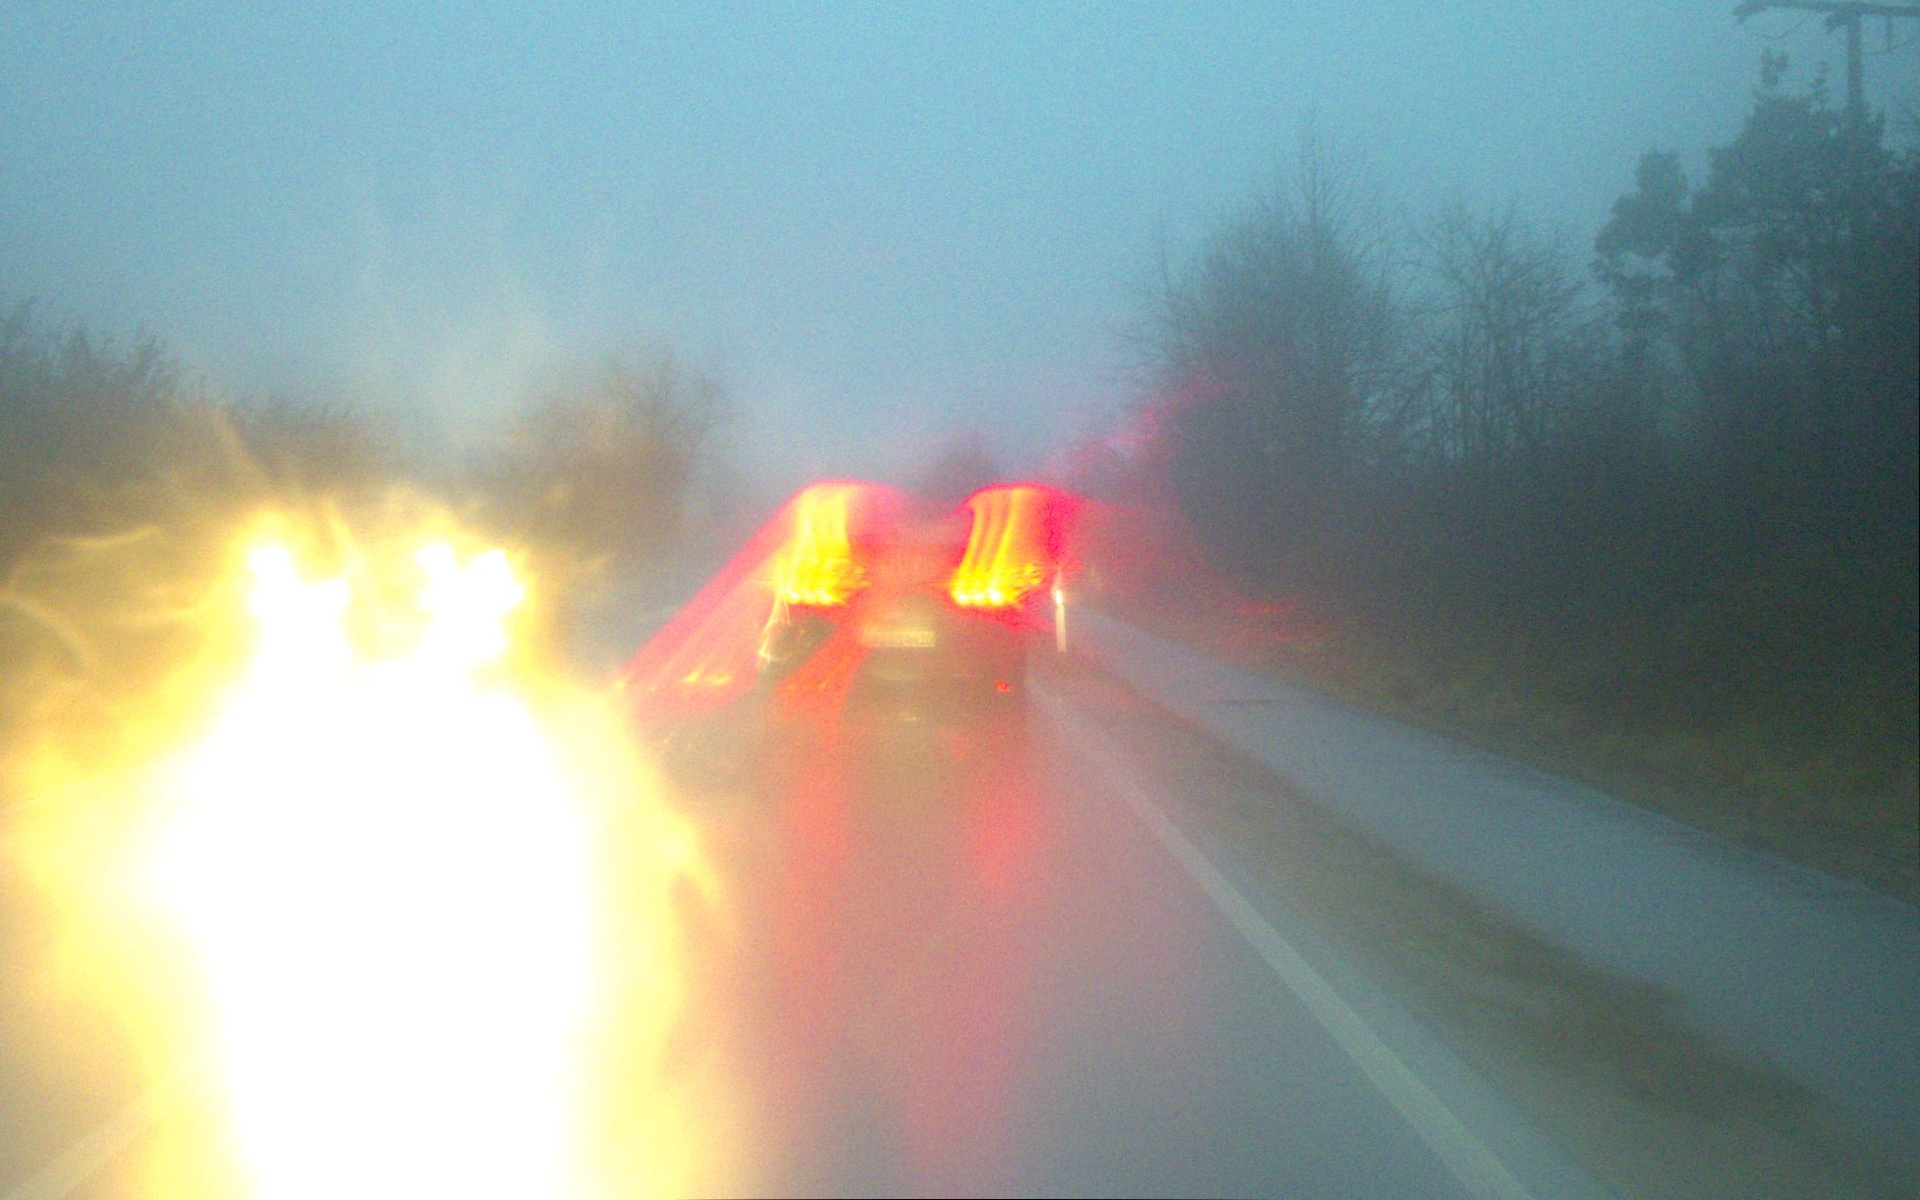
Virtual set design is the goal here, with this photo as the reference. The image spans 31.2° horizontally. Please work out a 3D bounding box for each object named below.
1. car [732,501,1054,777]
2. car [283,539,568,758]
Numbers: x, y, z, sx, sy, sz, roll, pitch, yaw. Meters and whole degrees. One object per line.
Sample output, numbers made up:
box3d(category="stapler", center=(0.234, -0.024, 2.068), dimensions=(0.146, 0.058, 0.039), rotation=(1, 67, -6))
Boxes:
box3d(category="car", center=(-0.487, 0.213, 25.216), dimensions=(2.120, 1.813, 4.980), rotation=(0, 1, -1))
box3d(category="car", center=(-4.315, 0.339, 28.289), dimensions=(1.767, 1.593, 4.000), rotation=(-2, 1, -2))
